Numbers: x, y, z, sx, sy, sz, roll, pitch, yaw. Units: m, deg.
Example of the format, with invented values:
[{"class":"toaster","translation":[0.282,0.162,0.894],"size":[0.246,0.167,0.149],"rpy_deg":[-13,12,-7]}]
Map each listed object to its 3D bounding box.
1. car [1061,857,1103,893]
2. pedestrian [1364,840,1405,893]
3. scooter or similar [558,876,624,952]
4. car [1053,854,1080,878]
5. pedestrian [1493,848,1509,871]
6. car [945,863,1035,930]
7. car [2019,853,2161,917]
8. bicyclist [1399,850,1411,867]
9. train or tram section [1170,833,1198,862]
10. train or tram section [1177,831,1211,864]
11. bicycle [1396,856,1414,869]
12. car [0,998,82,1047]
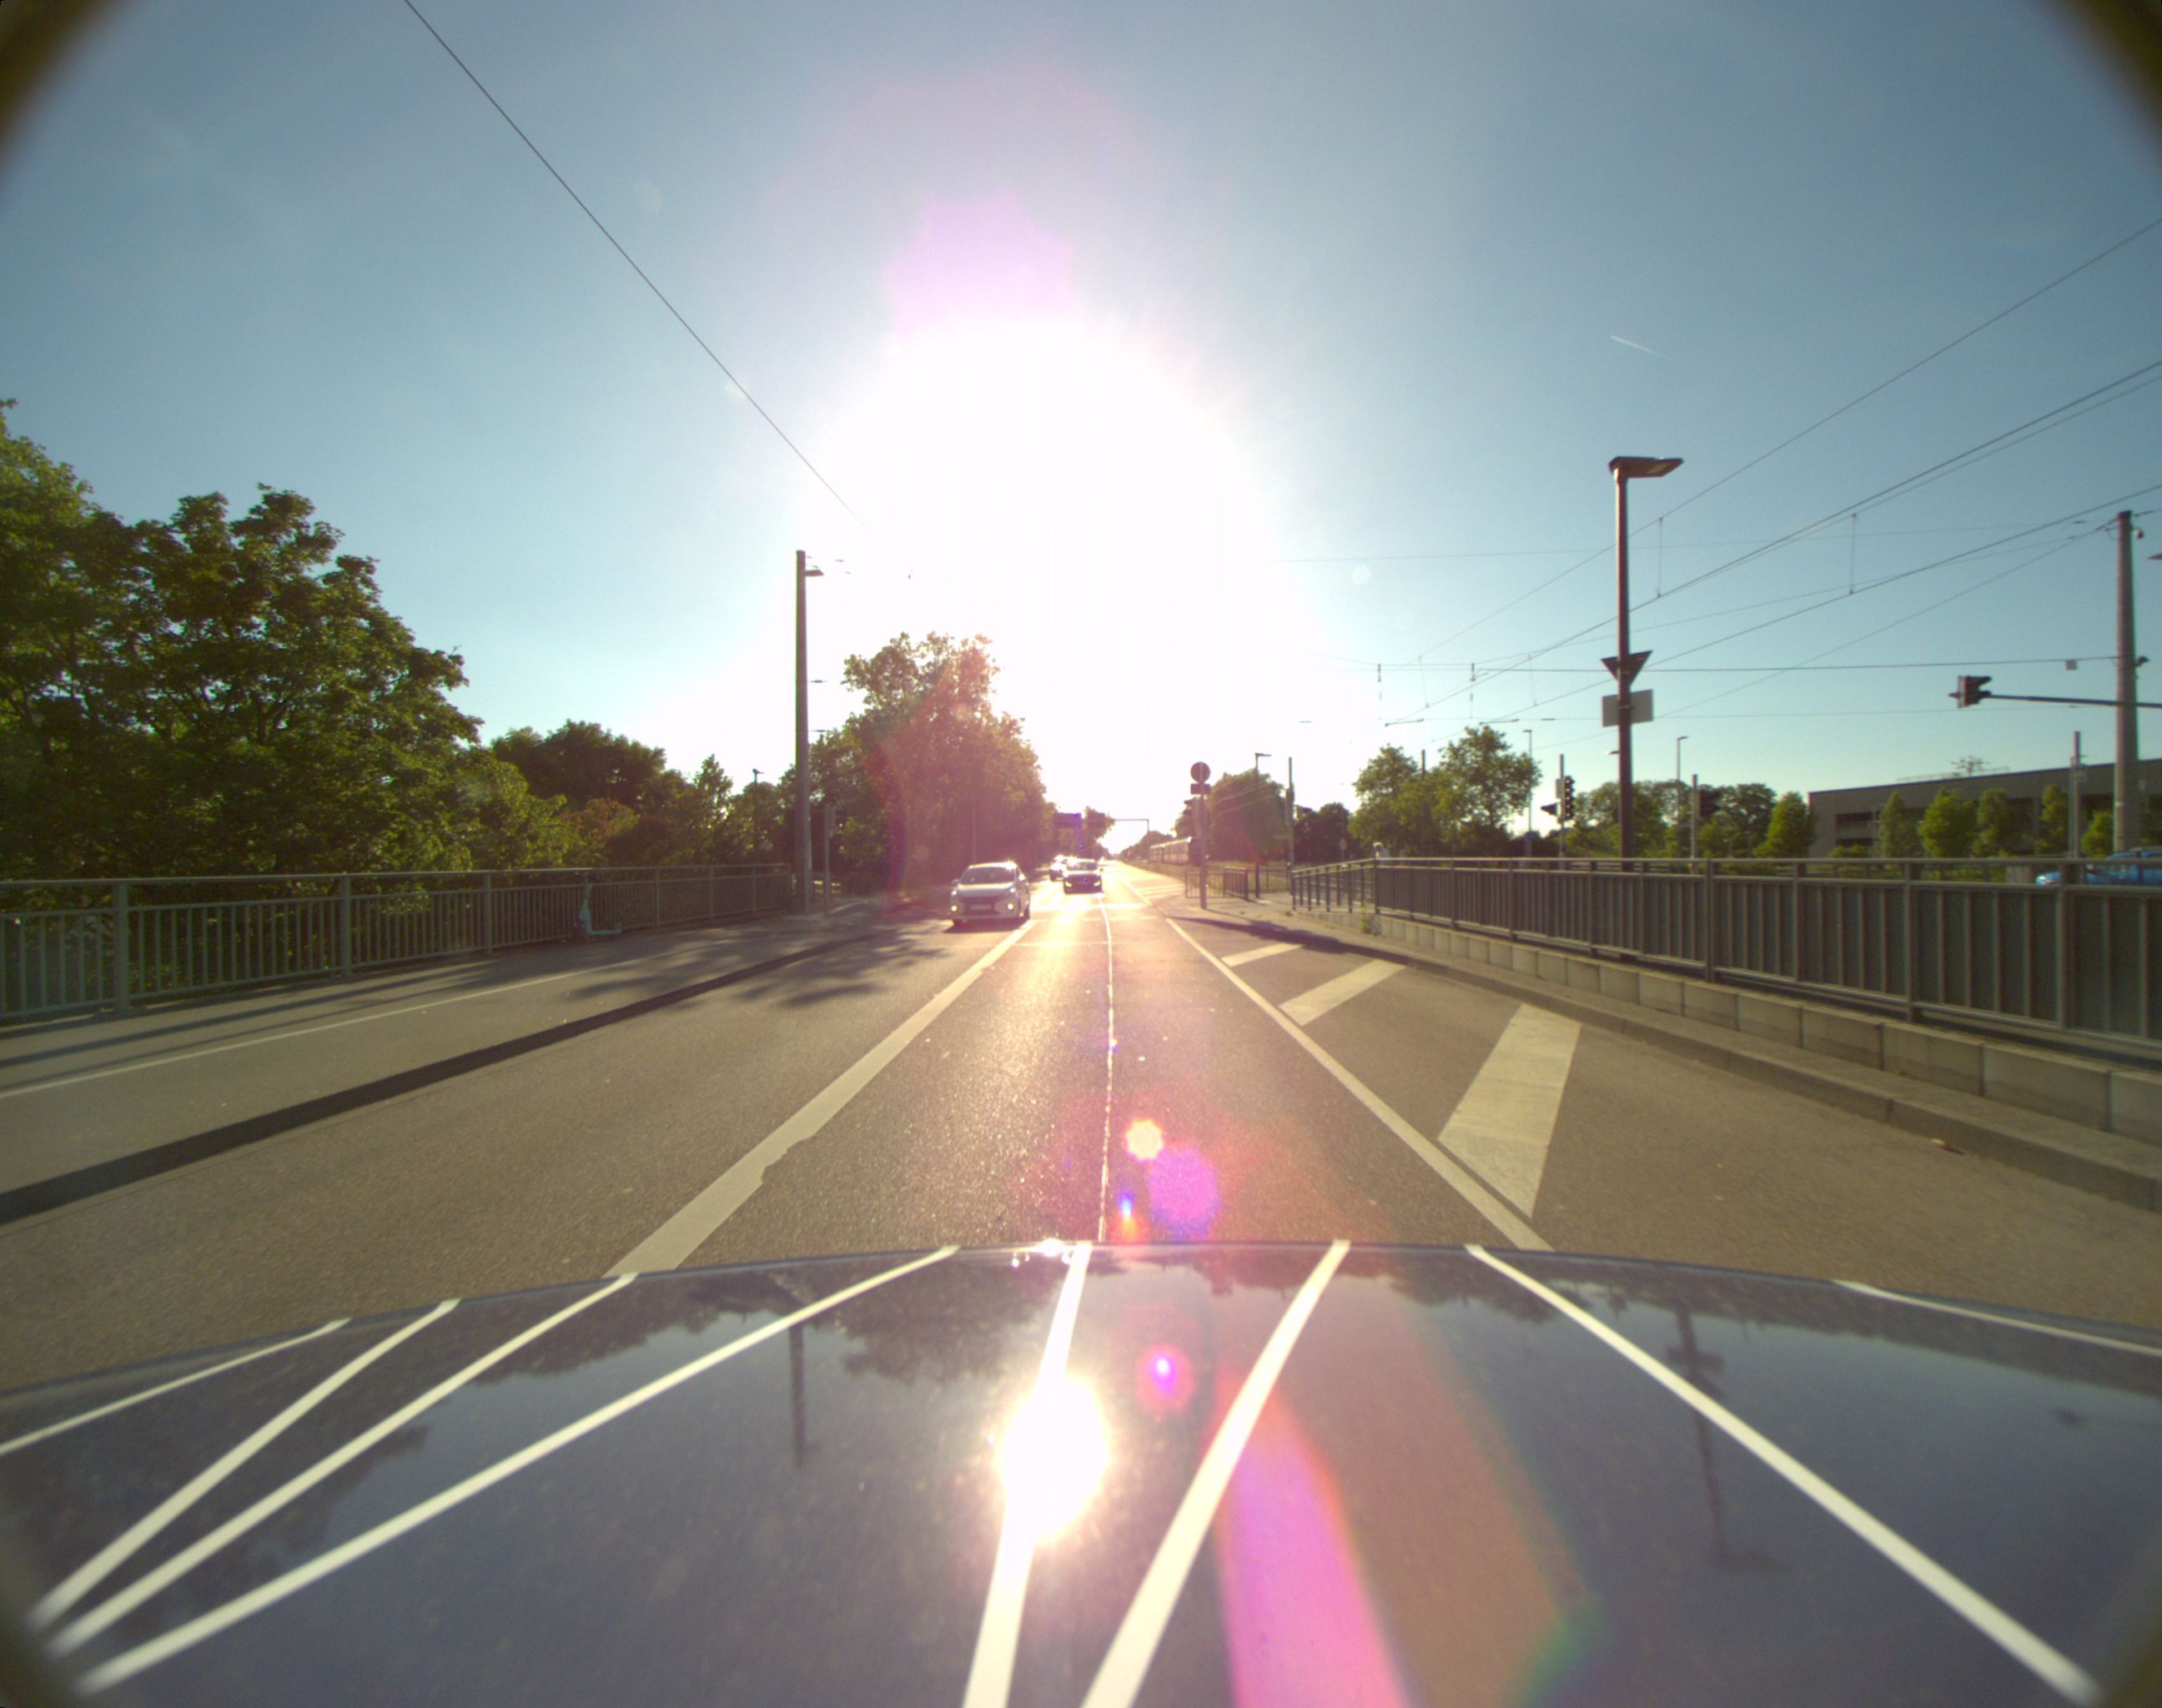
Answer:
[{"class":"car","translation":[0.090,0.928,35.830],"size":[1.786,1.530,4.000],"rpy_deg":[-2,0,2]},{"class":"pedestrian","translation":[9.678,0.386,24.246],"size":[0.892,1.635,0.986],"rpy_deg":[-1,1,-2]},{"class":"scooter or similar","translation":[-8.642,1.037,13.438],"size":[0.427,1.267,1.083],"rpy_deg":[-1,0,2]},{"class":"car","translation":[-1.032,0.806,54.969],"size":[1.824,1.608,4.000],"rpy_deg":[-2,0,0]},{"class":"pedestrian","translation":[30.506,0.404,55.171],"size":[0.722,1.599,0.879],"rpy_deg":[-1,1,2]},{"class":"car","translation":[-2.234,1.020,19.567],"size":[1.671,1.465,3.745],"rpy_deg":[-2,0,2]},{"class":"car","translation":[25.336,0.702,17.853],"size":[1.736,1.437,4.000],"rpy_deg":[-1,0,2]},{"class":"bicyclist","translation":[29.756,0.412,69.845],"size":[0.770,1.608,0.835],"rpy_deg":[-1,1,2]},{"class":"train or tram section","translation":[14.996,-0.877,111.447],"size":[2.891,3.924,11.340],"rpy_deg":[-1,0,1]},{"class":"train or tram section","translation":[14.710,-0.827,99.775],"size":[2.891,3.924,12.113],"rpy_deg":[-1,0,1]},{"class":"bicycle","translation":[29.736,0.780,69.835],"size":[0.632,1.121,2.528],"rpy_deg":[-1,0,2]},{"class":"car","translation":[-44.787,7.160,31.299],"size":[1.714,1.526,4.074],"rpy_deg":[-6,0,1]}]
